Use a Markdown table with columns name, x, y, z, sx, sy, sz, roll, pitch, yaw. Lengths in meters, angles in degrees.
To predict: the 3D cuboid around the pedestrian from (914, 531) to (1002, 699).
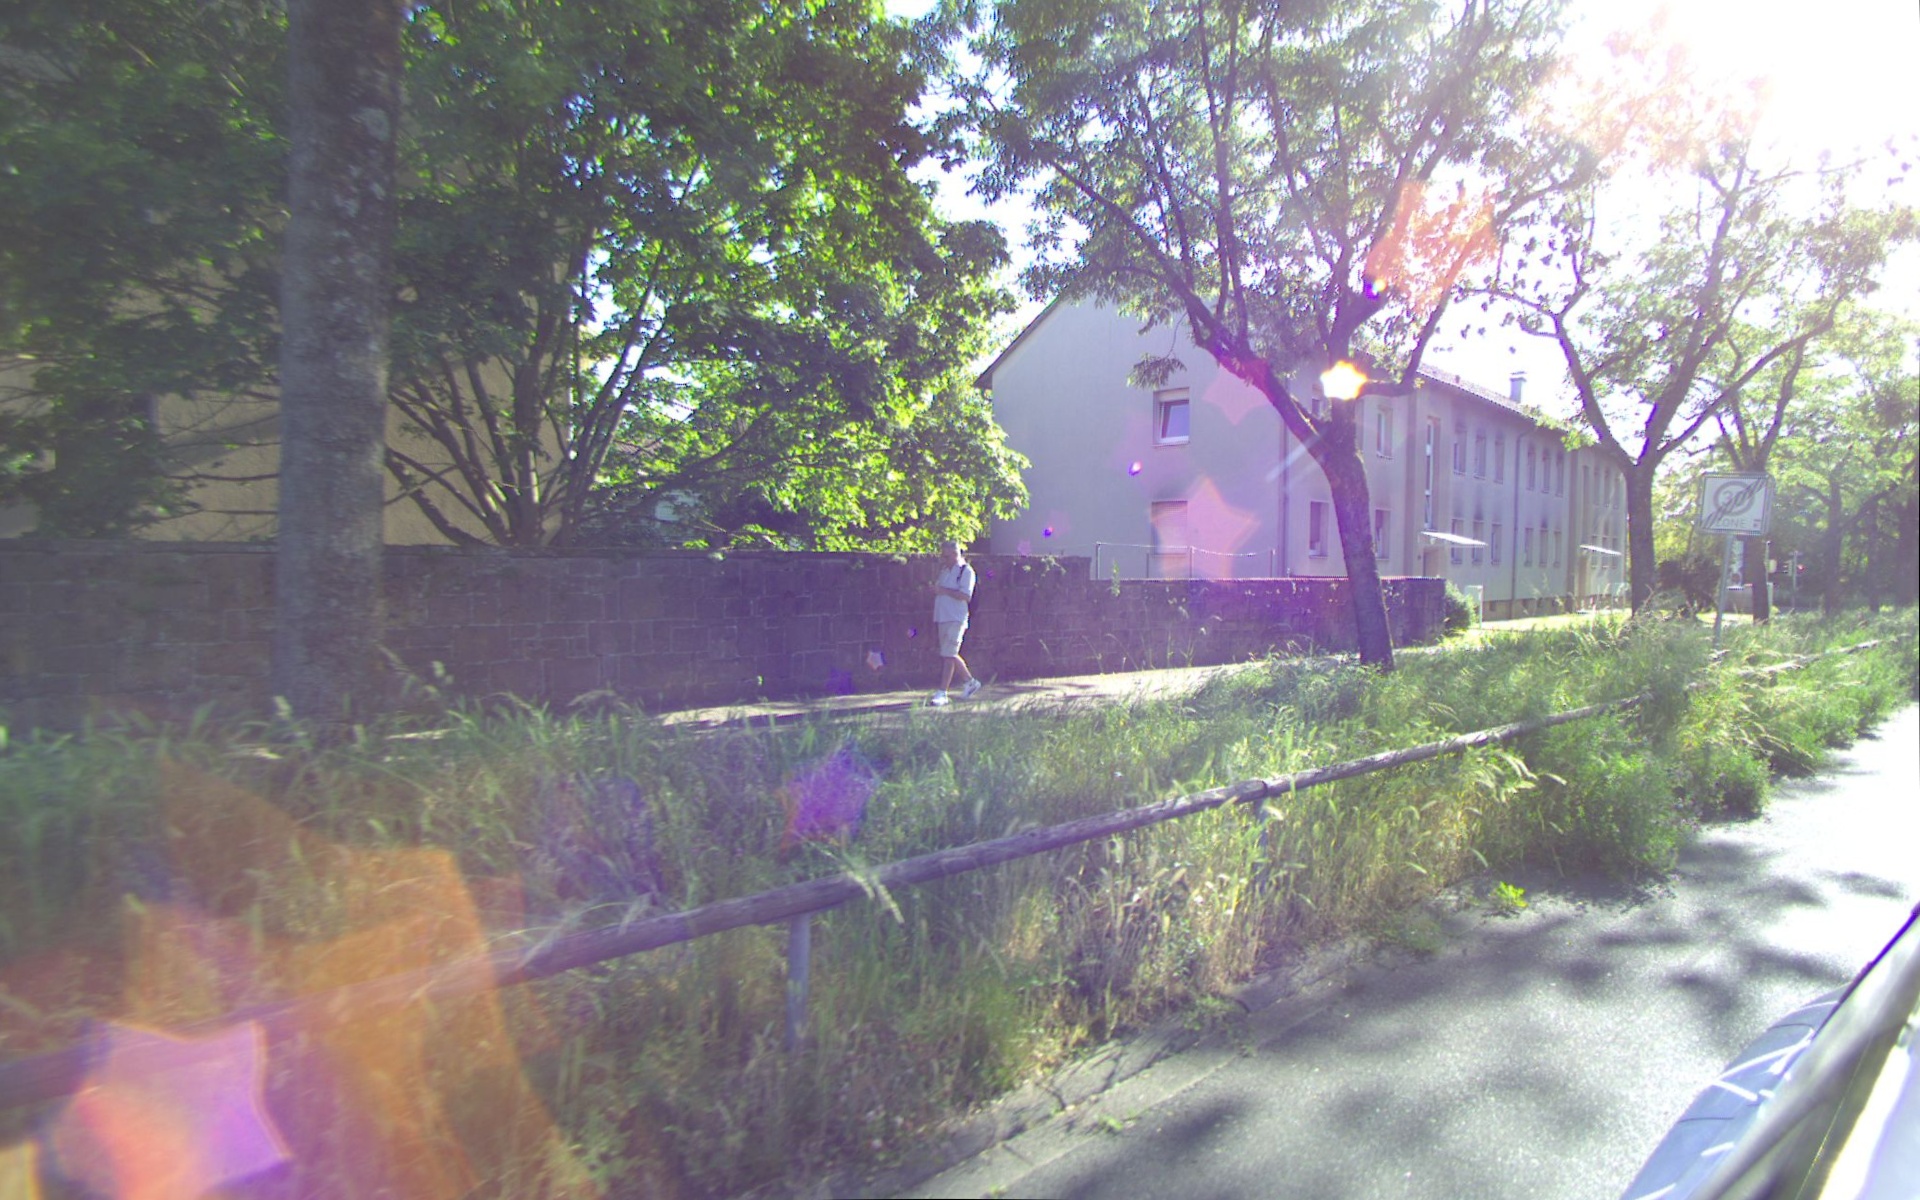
| name | x | y | z | sx | sy | sz | roll | pitch | yaw |
| --- | --- | --- | --- | --- | --- | --- | --- | --- | --- |
| pedestrian | -0.025 | 0.140 | 10.895 | 0.601 | 1.726 | 0.638 | 1 | 3 | -42 |
